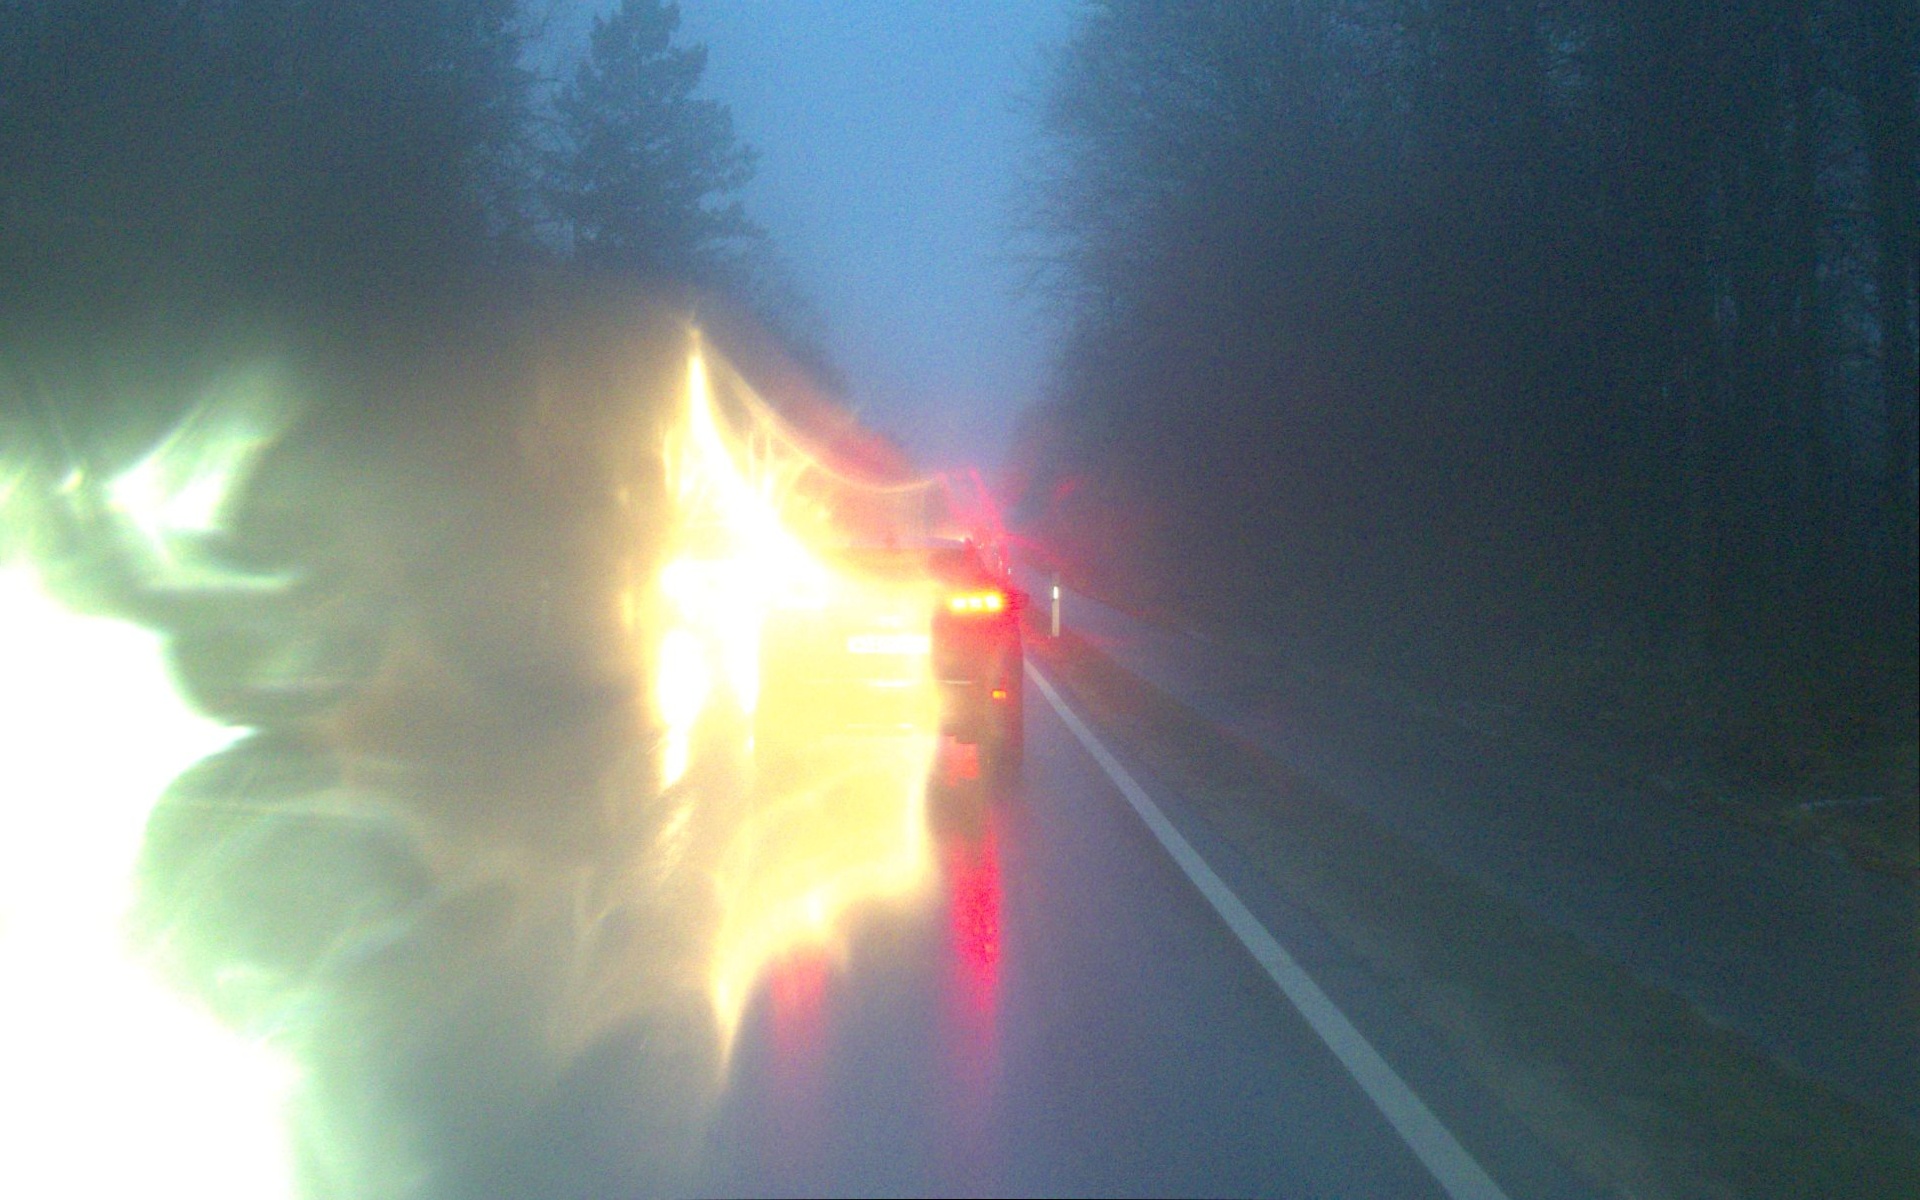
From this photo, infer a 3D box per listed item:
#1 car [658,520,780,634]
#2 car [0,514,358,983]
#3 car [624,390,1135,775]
[{"bbox_3d":[-4.512,-0.458,64.890,2.006,1.982,5.032,-2,1,-1],"label":"car"},{"bbox_3d":[-3.799,0.496,13.924,2.075,1.610,4.152,-1,1,-1],"label":"car"},{"bbox_3d":[-0.500,-0.161,24.944,3.183,2.378,6.636,1,1,0],"label":"car"}]
